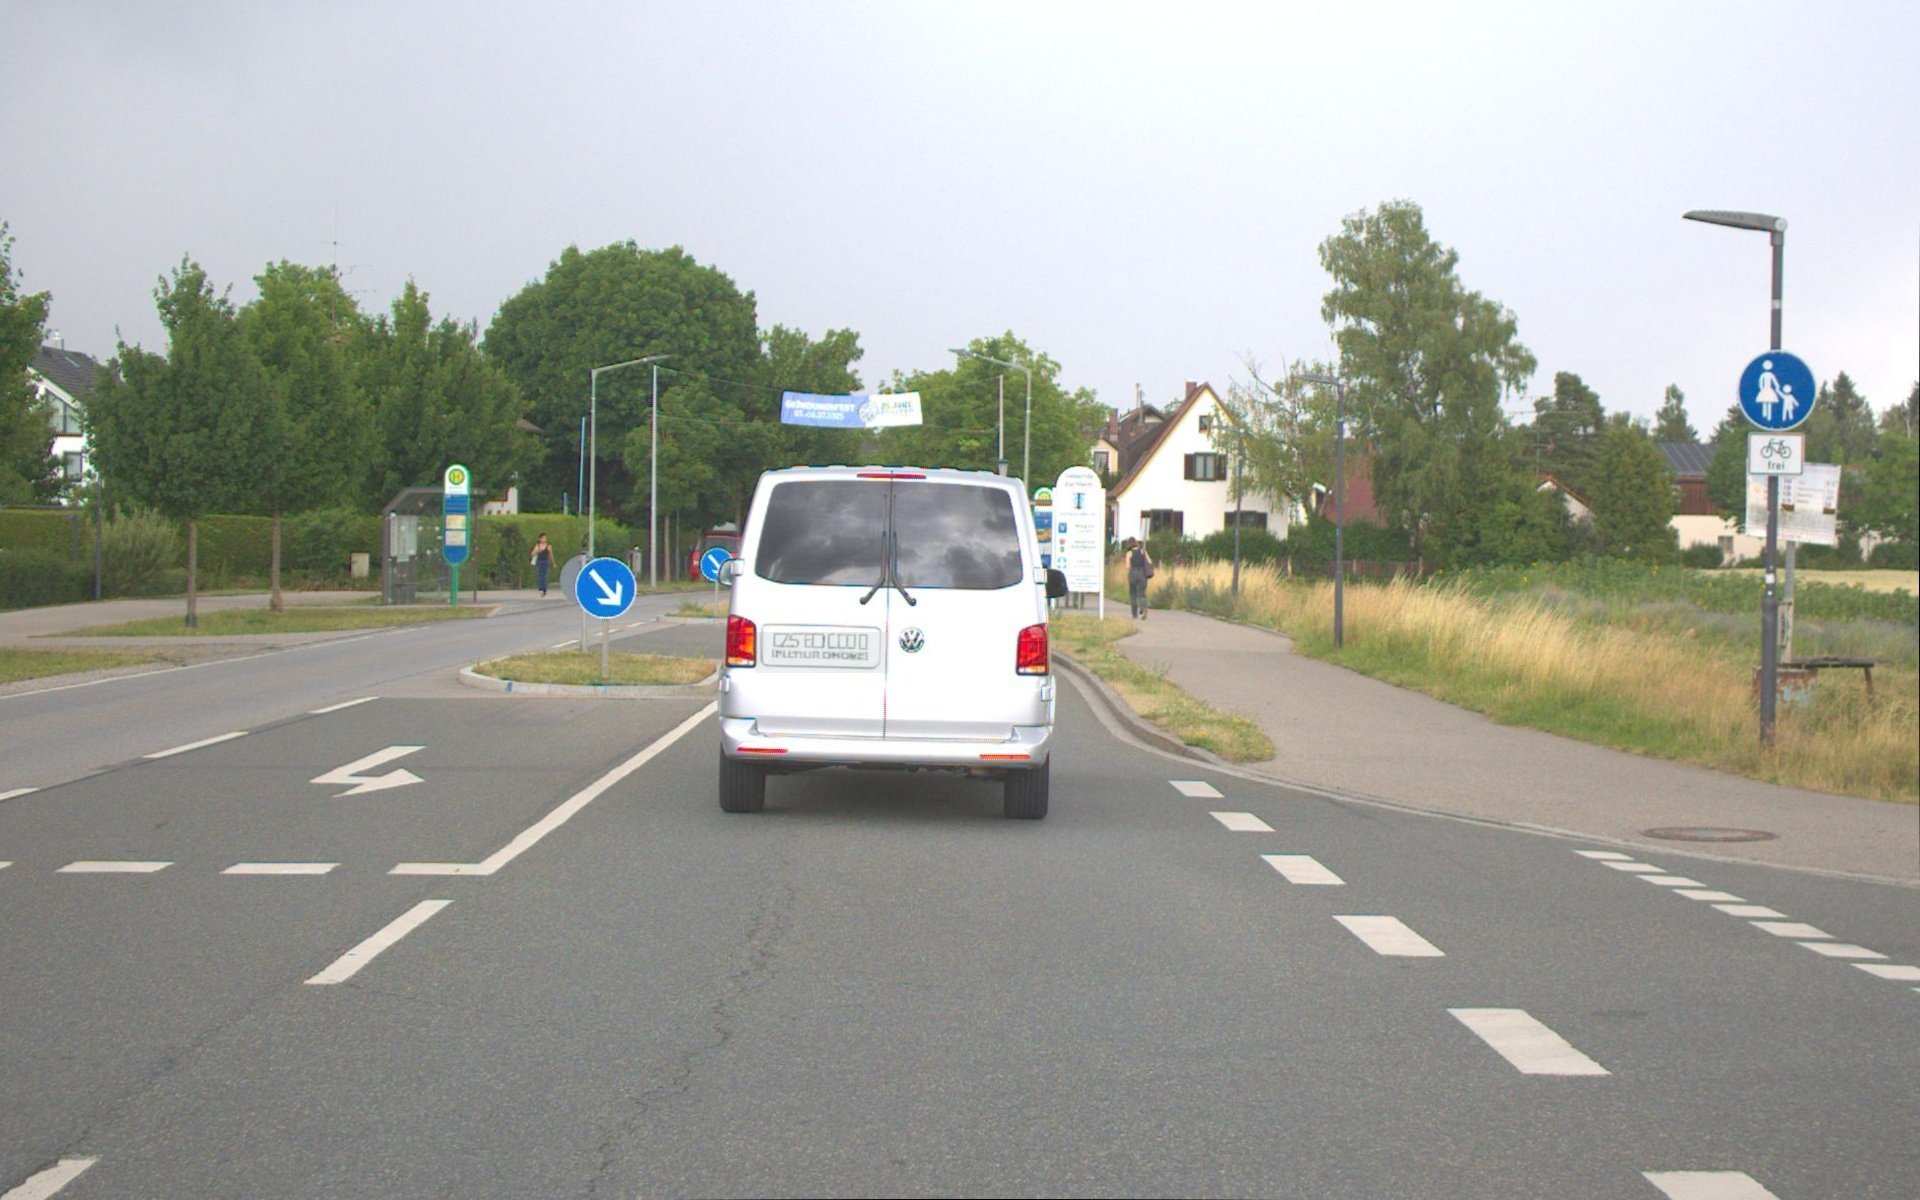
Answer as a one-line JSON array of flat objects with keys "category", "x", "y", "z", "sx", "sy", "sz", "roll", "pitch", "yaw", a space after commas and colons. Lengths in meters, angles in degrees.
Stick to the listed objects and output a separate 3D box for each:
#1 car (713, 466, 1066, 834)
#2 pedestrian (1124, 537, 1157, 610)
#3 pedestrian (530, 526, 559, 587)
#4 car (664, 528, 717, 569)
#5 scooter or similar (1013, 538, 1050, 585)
[{"category": "car", "x": -0.452, "y": 0.220, "z": 20.337, "sx": 1.825, "sy": 1.907, "sz": 4.001, "roll": 2, "pitch": 1, "yaw": -2}, {"category": "pedestrian", "x": 3.786, "y": -0.561, "z": 71.995, "sx": 0.623, "sy": 1.519, "sz": 0.680, "roll": -1, "pitch": 1, "yaw": -1}, {"category": "pedestrian", "x": -10.421, "y": -1.098, "z": 86.226, "sx": 0.623, "sy": 1.519, "sz": 0.680, "roll": -1, "pitch": 1, "yaw": -1}, {"category": "car", "x": -9.630, "y": -1.848, "z": 122.926, "sx": 1.653, "sy": 1.424, "sz": 3.603, "roll": -1, "pitch": 1, "yaw": -1}, {"category": "scooter or similar", "x": 1.692, "y": -0.920, "z": 81.467, "sx": 0.848, "sy": 1.100, "sz": 1.094, "roll": -1, "pitch": 1, "yaw": 0}]
